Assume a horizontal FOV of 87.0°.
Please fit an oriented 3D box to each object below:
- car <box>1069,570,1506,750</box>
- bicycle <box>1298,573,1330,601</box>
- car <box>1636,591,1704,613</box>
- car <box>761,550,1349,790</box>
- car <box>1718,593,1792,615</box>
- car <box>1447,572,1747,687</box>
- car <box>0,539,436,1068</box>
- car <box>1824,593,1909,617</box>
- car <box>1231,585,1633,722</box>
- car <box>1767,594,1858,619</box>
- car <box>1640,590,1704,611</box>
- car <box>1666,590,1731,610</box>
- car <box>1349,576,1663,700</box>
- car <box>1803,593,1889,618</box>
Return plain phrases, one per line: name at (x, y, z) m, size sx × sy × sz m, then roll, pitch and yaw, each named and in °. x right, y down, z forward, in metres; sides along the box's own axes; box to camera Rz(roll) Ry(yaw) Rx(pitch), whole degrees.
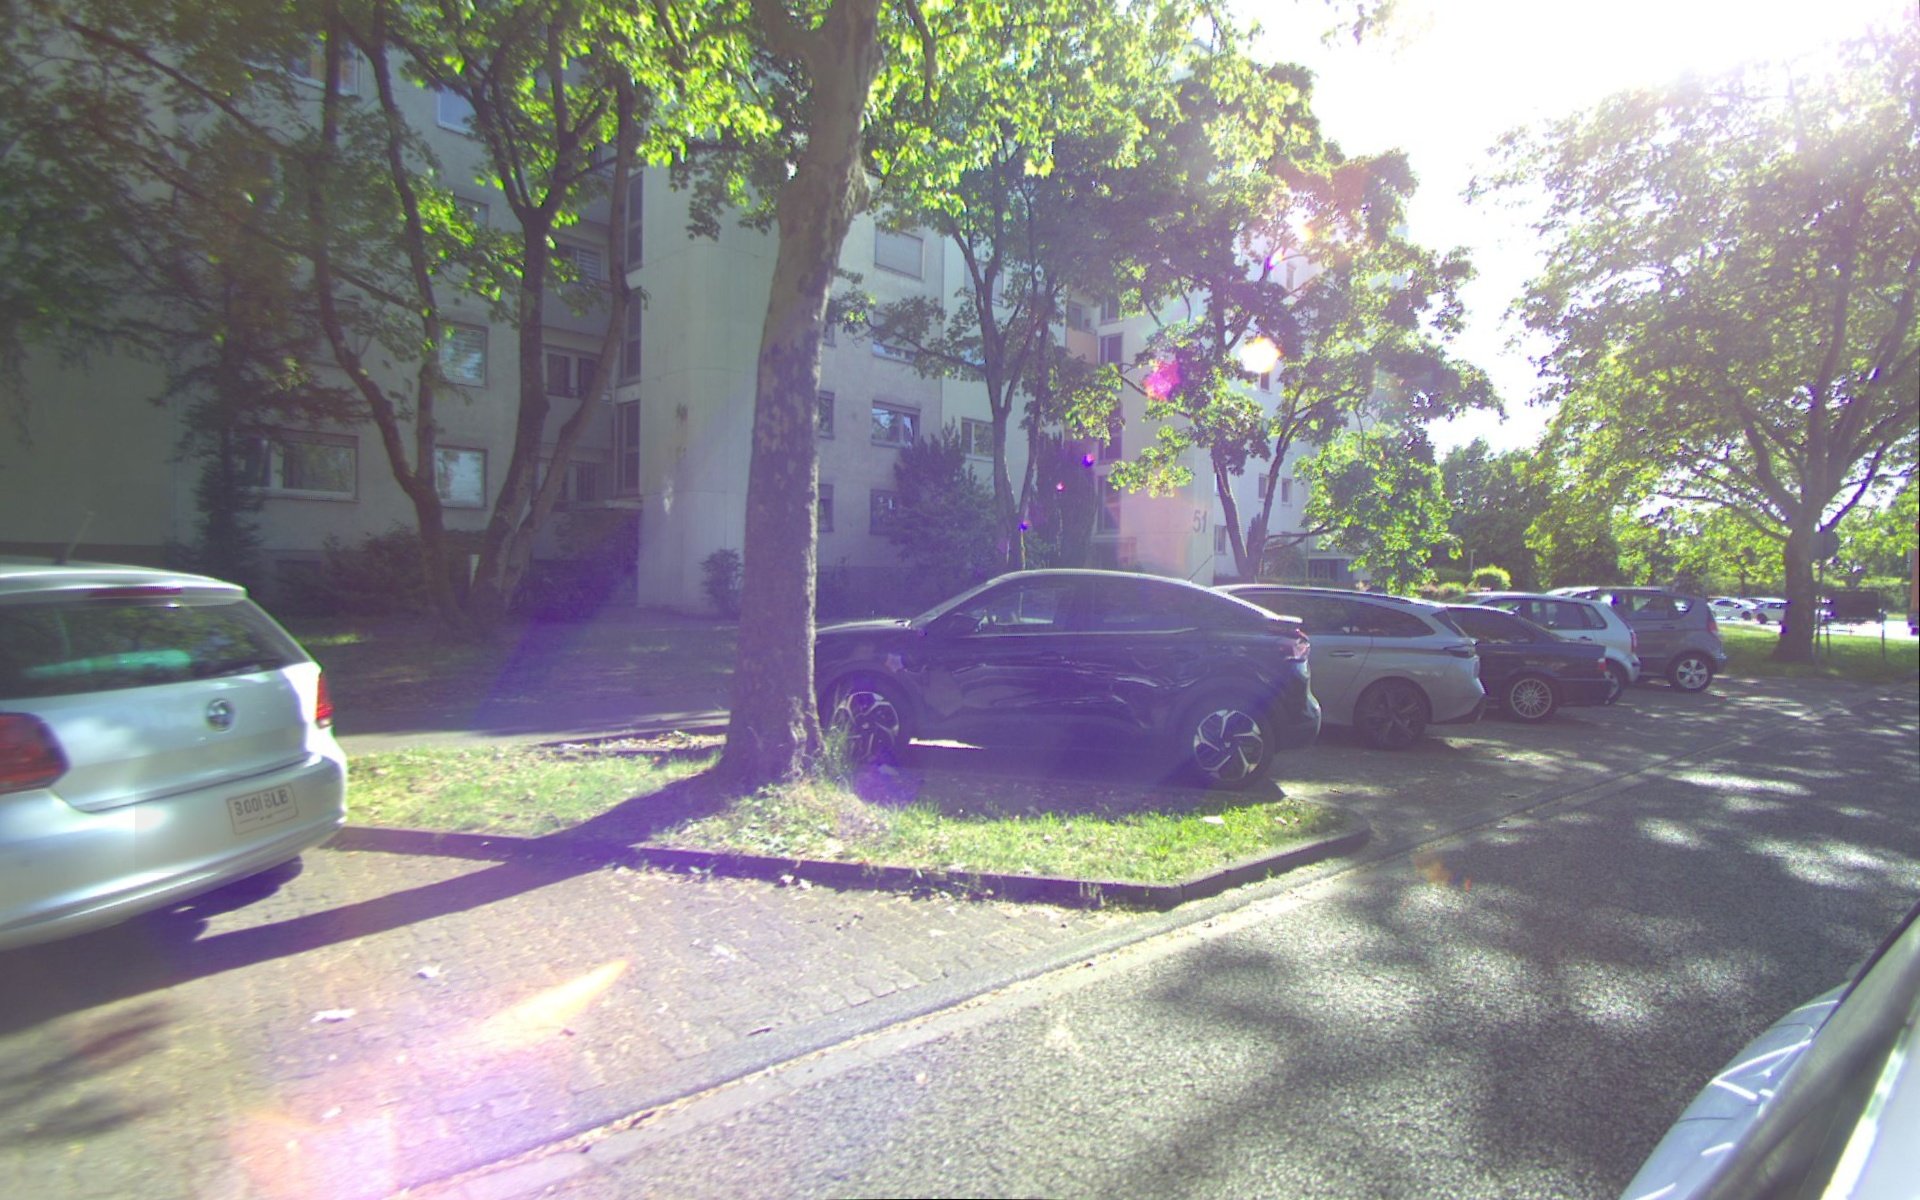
car at (3.056, 0.509, 10.194) m, size 3.821 × 1.463 × 1.797 m, roll 2°, pitch 2°, yaw 7°
bicycle at (14.998, -0.537, 42.819) m, size 0.499 × 1.120 × 1.772 m, roll 8°, pitch 5°, yaw 43°
car at (52.542, 0.136, 74.975) m, size 1.762 × 1.529 × 4.008 m, roll 0°, pitch 2°, yaw -12°
car at (0.672, 0.451, 8.078) m, size 4.102 × 1.529 × 1.799 m, roll 2°, pitch 2°, yaw 3°
car at (57.192, 0.249, 72.884) m, size 1.762 × 1.409 × 4.008 m, roll 0°, pitch 2°, yaw -12°
car at (10.280, 0.425, 16.626) m, size 3.666 × 1.612 × 1.796 m, roll 2°, pitch 2°, yaw 9°
car at (-4.472, 0.473, 4.036) m, size 3.934 × 1.462 × 1.796 m, roll 2°, pitch 2°, yaw 9°
car at (61.680, 0.304, 68.924) m, size 1.762 × 1.500 × 4.008 m, roll 0°, pitch 2°, yaw -12°
car at (5.573, 0.575, 12.475) m, size 4.080 × 1.334 × 1.795 m, roll 2°, pitch 2°, yaw 10°
car at (55.283, 0.407, 65.737) m, size 1.762 × 1.500 × 4.294 m, roll 0°, pitch 2°, yaw -12°
car at (55.769, 0.006, 79.362) m, size 1.762 × 1.524 × 4.008 m, roll 0°, pitch 2°, yaw -12°
car at (59.010, -0.036, 80.958) m, size 1.762 × 1.500 × 4.008 m, roll 0°, pitch 2°, yaw -12°
car at (7.735, 0.482, 14.679) m, size 3.524 × 1.510 × 1.796 m, roll 2°, pitch 2°, yaw 8°
car at (58.644, 0.366, 67.078) m, size 1.762 × 1.500 × 4.008 m, roll 0°, pitch 2°, yaw -12°
